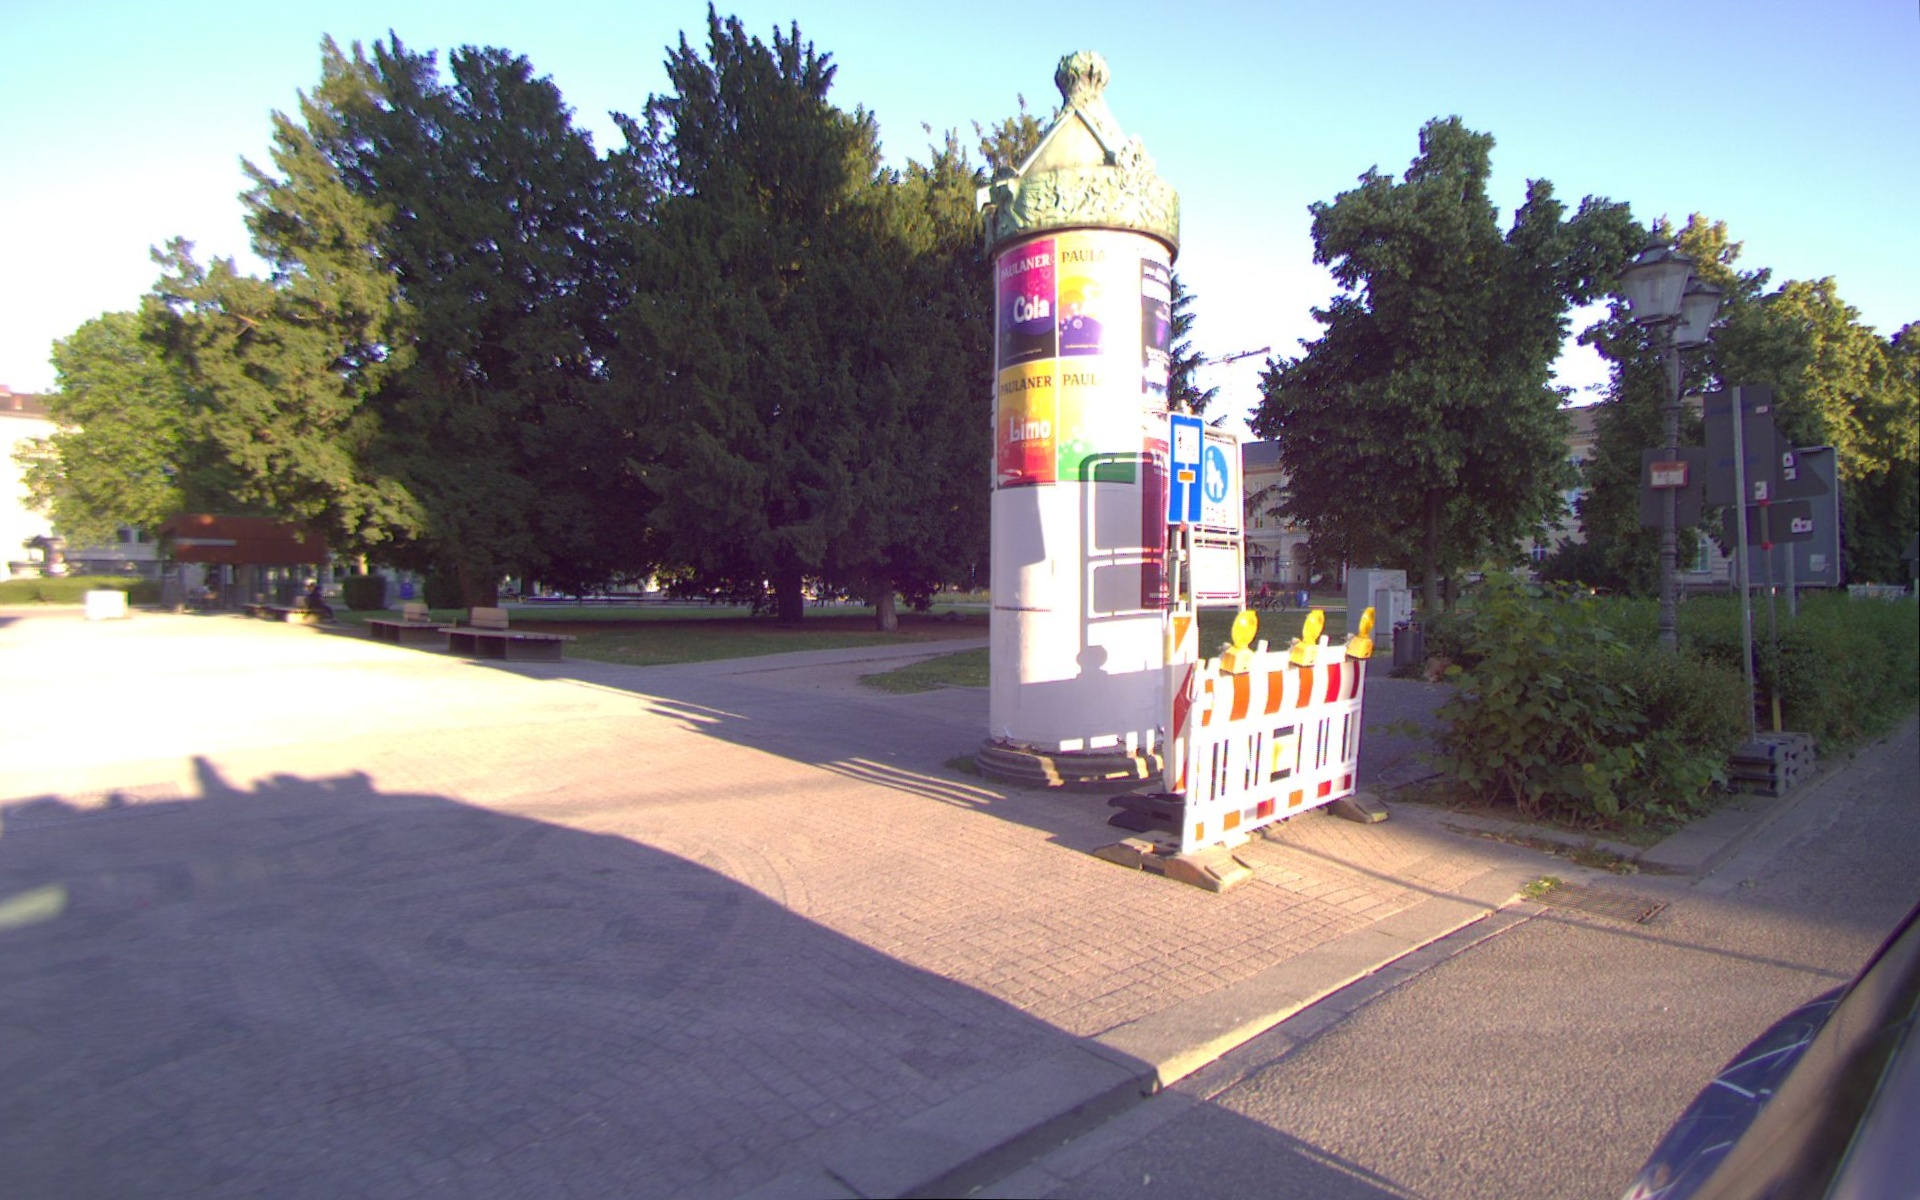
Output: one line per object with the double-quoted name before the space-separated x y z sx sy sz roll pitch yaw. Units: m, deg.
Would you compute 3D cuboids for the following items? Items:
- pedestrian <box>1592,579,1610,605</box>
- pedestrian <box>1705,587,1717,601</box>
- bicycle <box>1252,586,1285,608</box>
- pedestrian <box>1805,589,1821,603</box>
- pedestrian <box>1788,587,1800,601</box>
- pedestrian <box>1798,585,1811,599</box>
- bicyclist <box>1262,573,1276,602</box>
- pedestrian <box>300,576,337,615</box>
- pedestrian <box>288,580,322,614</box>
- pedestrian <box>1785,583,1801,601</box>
"pedestrian" 42.088 -0.535 66.461 0.744 1.646 0.857 0 1 -43
"pedestrian" 59.068 -0.494 79.608 0.593 1.123 0.395 1 1 4
"bicycle" 17.397 -0.165 57.072 1.749 1.191 0.563 1 1 14
"pedestrian" 64.860 -0.312 76.962 0.784 1.064 0.394 1 1 13
"pedestrian" 63.788 -0.428 77.391 0.595 1.064 0.393 1 1 16
"pedestrian" 63.911 -0.631 76.582 0.595 1.064 0.394 1 1 12
"bicyclist" 17.420 -0.711 57.065 0.667 1.652 0.656 1 1 14
"pedestrian" -21.305 -0.164 33.622 0.707 1.267 0.912 1 1 44
"pedestrian" -22.068 -0.102 34.097 0.707 1.106 0.821 1 1 43
"pedestrian" 70.157 -0.685 85.255 0.742 1.462 0.815 1 1 14
